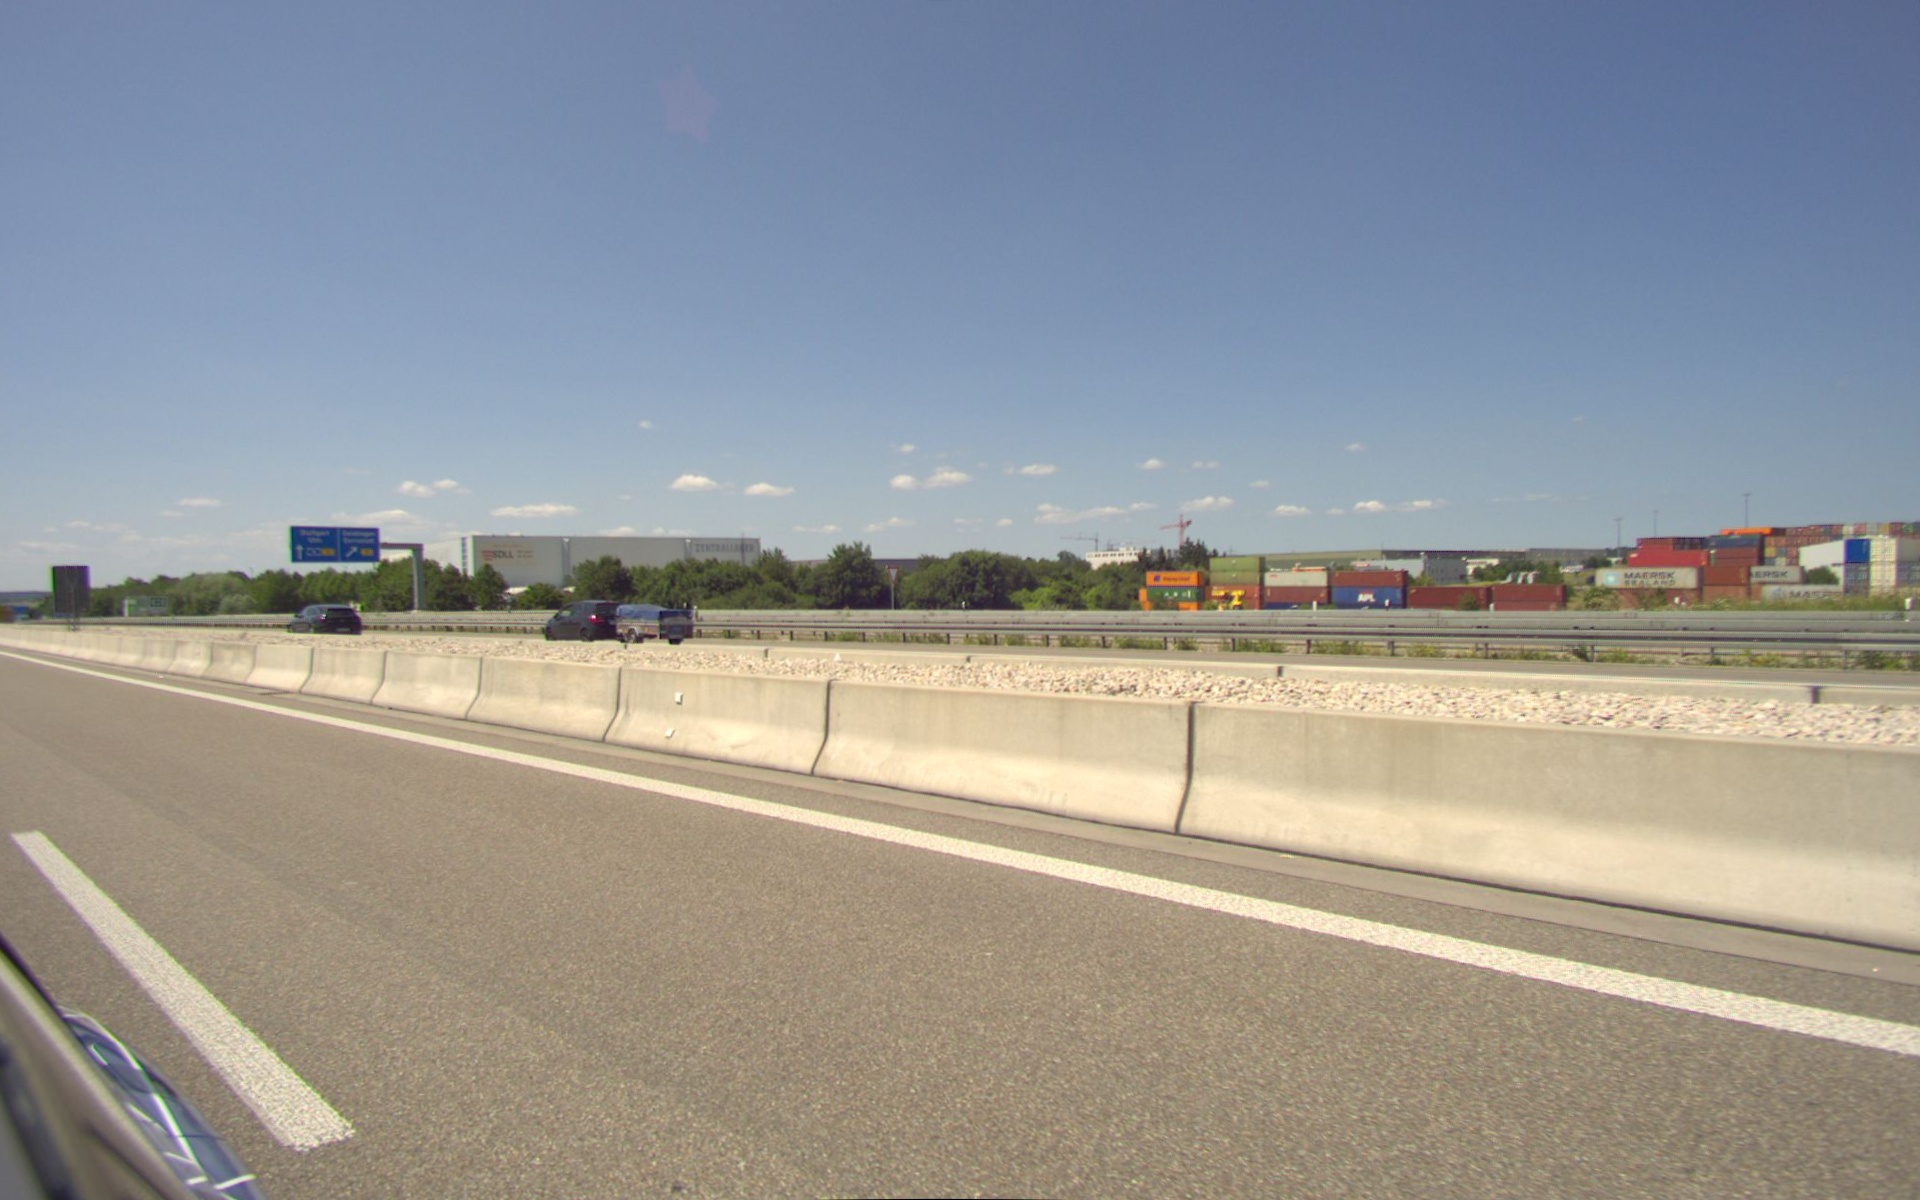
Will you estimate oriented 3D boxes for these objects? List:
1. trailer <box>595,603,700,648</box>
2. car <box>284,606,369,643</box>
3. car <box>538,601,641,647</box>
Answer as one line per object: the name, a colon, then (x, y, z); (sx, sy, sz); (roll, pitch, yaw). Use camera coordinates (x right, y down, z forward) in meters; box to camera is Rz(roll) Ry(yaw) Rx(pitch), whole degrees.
trailer: (-10.504, 0.835, 33.915); (3.682, 1.446, 1.737); (-1, -1, 42)
car: (-27.412, 1.053, 43.742); (4.370, 1.484, 2.009); (-1, 0, 42)
car: (-13.394, 0.841, 36.499); (3.998, 1.561, 1.773); (-1, 0, 41)
